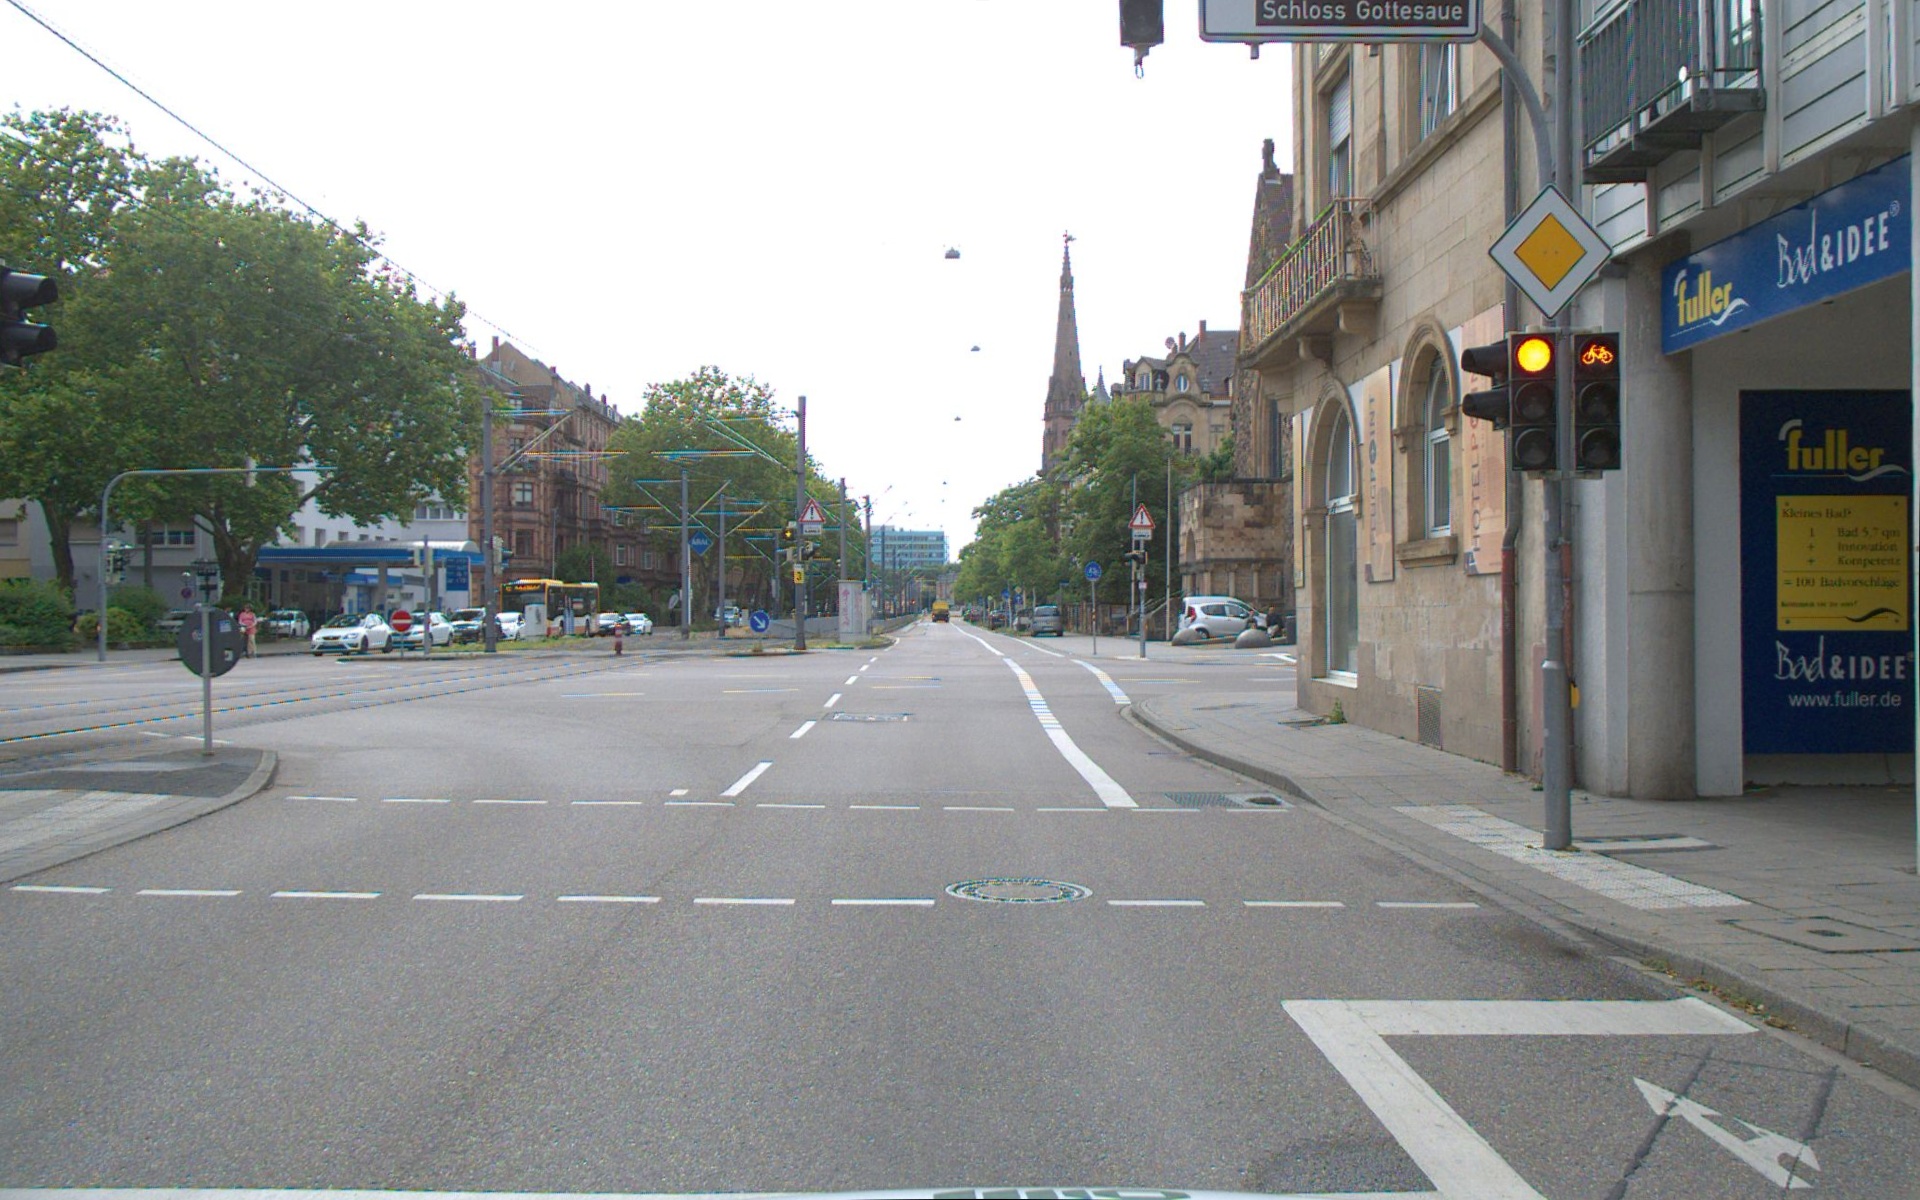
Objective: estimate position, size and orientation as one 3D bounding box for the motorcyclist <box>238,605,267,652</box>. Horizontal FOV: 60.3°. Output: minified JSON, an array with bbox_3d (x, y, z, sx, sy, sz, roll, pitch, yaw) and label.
[{"bbox_3d":[-23.519,0.950,54.976,0.607,1.546,0.873,0,0,-1],"label":"motorcyclist"}]

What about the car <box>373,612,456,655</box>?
[{"bbox_3d":[-21.419,1.295,65.118,1.953,1.622,3.999,1,0,-1],"label":"car"}]

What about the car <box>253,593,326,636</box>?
[{"bbox_3d":[-32.739,0.695,80.874,1.953,2.049,3.999,0,0,-1],"label":"car"}]

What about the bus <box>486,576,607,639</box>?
[{"bbox_3d":[-21.961,0.425,88.744,3.164,3.088,12.312,1,0,1],"label":"bus"}]

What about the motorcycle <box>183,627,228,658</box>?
[{"bbox_3d":[-24.612,1.377,53.995,0.594,0.945,1.951,0,0,0],"label":"motorcycle"}]

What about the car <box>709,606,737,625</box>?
[{"bbox_3d":[-21.331,1.388,148.981,1.953,1.639,3.999,1,0,-1],"label":"car"}]

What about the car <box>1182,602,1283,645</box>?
[{"bbox_3d":[10.679,0.924,65.069,3.638,1.591,2.000,1,0,-1],"label":"car"}]

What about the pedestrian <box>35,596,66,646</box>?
[{"bbox_3d":[-32.051,0.738,58.291,0.852,1.743,0.688,-1,-1,35],"label":"pedestrian"}]

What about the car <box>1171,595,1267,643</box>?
[{"bbox_3d":[10.695,0.793,68.546,3.638,1.888,2.000,1,0,-1],"label":"car"}]

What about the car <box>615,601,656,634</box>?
[{"bbox_3d":[-21.405,1.140,109.249,1.953,2.049,3.999,1,0,-1],"label":"car"}]

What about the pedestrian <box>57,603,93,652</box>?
[{"bbox_3d":[-31.500,0.968,58.873,0.857,1.743,0.871,-1,-1,39],"label":"pedestrian"}]

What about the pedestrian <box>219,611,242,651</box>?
[{"bbox_3d":[-27.829,1.193,63.127,0.634,1.505,0.557,0,0,-1],"label":"pedestrian"}]

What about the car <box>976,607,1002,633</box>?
[{"bbox_3d":[2.381,1.629,136.193,1.953,2.049,3.999,1,0,-1],"label":"car"}]

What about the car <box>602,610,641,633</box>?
[{"bbox_3d":[-20.823,1.313,101.873,1.622,1.344,3.638,1,0,1],"label":"car"}]

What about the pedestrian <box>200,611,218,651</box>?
[{"bbox_3d":[-28.519,1.172,62.821,0.466,1.485,0.426,0,0,-1],"label":"pedestrian"}]

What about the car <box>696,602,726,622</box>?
[{"bbox_3d":[-21.215,1.031,141.172,1.953,1.639,3.999,1,0,-1],"label":"car"}]

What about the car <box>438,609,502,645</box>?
[{"bbox_3d":[-21.219,1.146,71.771,1.622,1.504,3.638,1,0,1],"label":"car"}]

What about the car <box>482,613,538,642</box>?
[{"bbox_3d":[-21.375,1.291,78.690,1.622,1.344,3.638,1,0,1],"label":"car"}]

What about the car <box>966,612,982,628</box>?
[{"bbox_3d":[1.777,2.662,216.813,1.953,2.049,3.999,1,0,-1],"label":"car"}]

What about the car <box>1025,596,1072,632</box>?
[{"bbox_3d":[4.820,0.771,90.036,1.951,1.888,4.030,1,0,12],"label":"car"}]

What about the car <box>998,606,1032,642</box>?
[{"bbox_3d":[3.294,1.421,99.673,1.952,2.049,4.000,1,0,1],"label":"car"}]

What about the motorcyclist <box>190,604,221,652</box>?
[{"bbox_3d":[-24.618,0.914,53.997,0.607,1.546,0.873,0,0,-1],"label":"motorcyclist"}]

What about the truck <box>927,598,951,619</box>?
[{"bbox_3d":[-2.823,1.187,227.349,2.992,2.817,9.817,0,0,1],"label":"truck"}]

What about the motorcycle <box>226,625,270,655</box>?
[{"bbox_3d":[-23.501,1.317,54.621,0.594,0.945,1.951,0,0,0],"label":"motorcycle"}]

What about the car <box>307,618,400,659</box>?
[{"bbox_3d":[-21.431,1.339,58.616,1.711,1.344,4.075,1,0,1],"label":"car"}]
